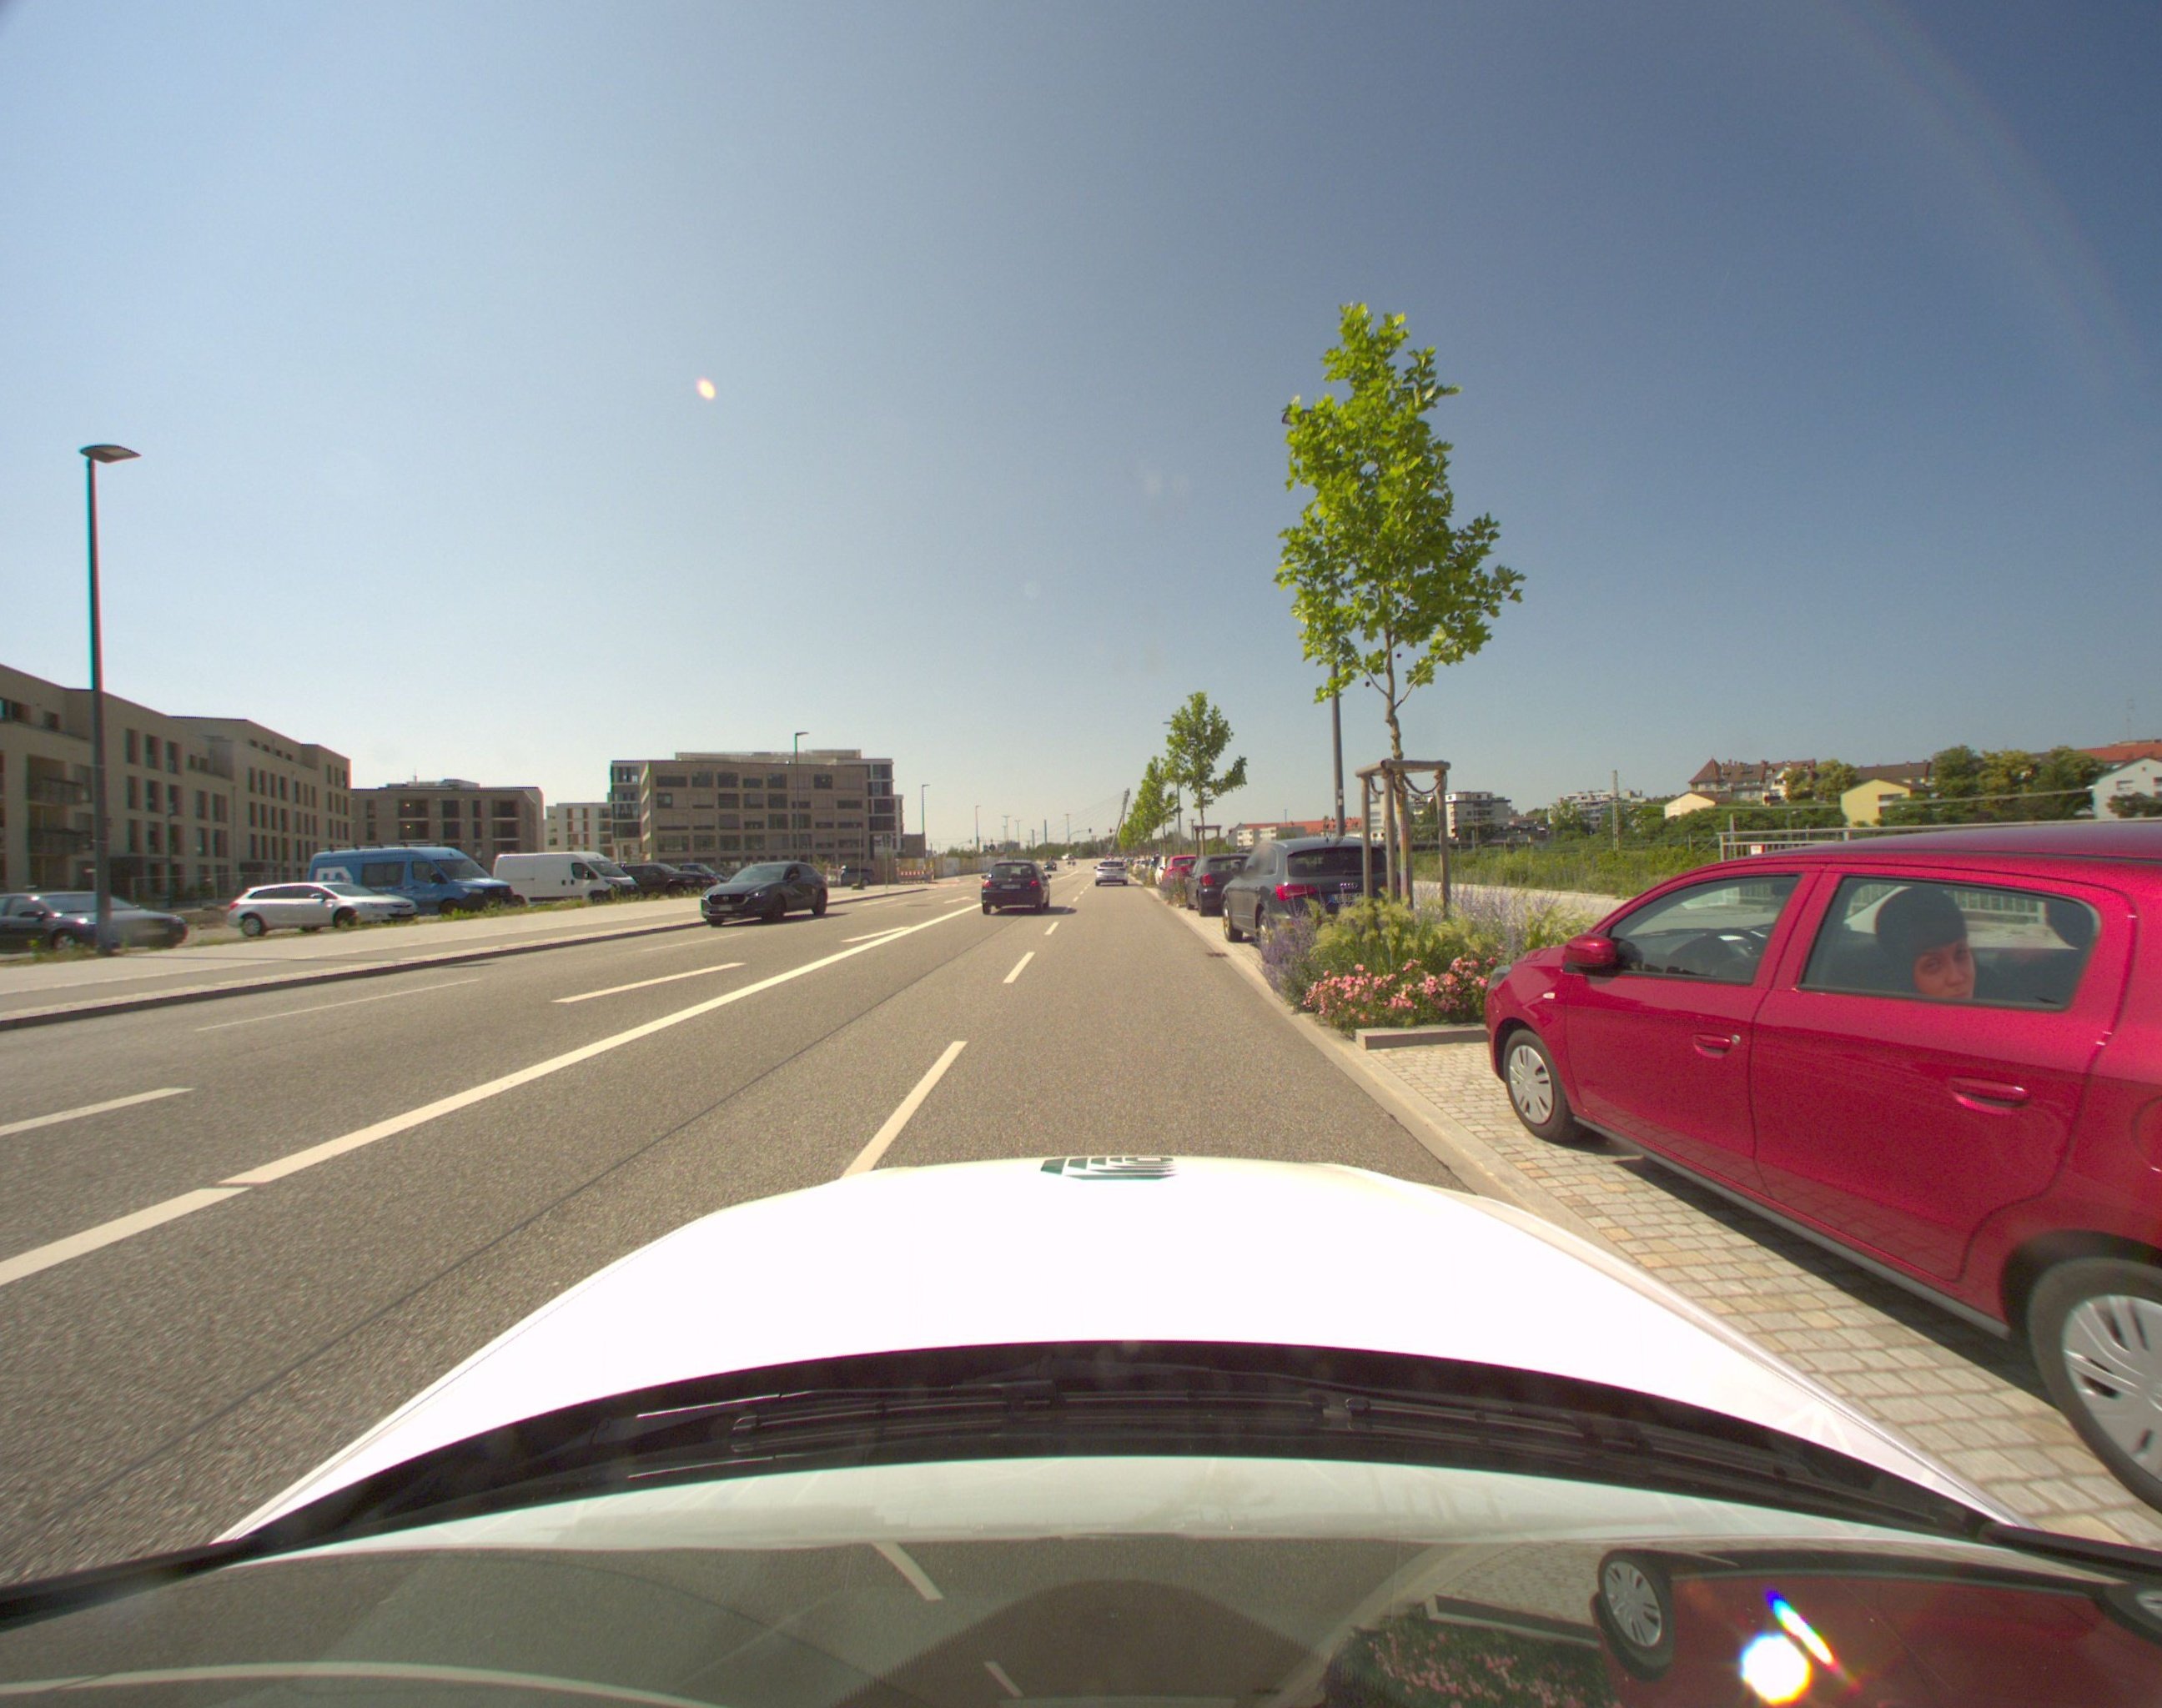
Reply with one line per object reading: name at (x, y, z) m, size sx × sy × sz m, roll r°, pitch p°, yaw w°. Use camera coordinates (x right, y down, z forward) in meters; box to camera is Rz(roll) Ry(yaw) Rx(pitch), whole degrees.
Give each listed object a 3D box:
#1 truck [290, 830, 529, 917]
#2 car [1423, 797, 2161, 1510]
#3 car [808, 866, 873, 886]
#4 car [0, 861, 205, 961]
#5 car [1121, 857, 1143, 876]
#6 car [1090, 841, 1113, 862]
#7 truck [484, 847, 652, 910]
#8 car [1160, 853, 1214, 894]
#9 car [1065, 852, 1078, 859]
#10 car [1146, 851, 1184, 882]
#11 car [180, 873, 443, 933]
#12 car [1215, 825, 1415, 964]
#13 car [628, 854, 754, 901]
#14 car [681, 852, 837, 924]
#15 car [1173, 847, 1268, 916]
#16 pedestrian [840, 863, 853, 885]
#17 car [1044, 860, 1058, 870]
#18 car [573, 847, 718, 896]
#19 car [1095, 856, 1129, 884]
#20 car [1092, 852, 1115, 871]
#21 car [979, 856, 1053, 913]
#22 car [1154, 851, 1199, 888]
truck at (-22.406, 0.615, 27.367) m, size 5.986 × 2.543 × 2.274 m, roll -2°, pitch 0°, yaw -1°
car at (3.005, 0.596, 3.168) m, size 1.599 × 1.491 × 3.816 m, roll -3°, pitch 0°, yaw -1°
car at (-18.054, 1.650, 61.283) m, size 4.264 × 1.318 × 1.979 m, roll -2°, pitch 0°, yaw -34°
car at (-21.433, 1.189, 17.331) m, size 3.963 × 1.904 × 1.832 m, roll -3°, pitch 0°, yaw 9°
car at (4.340, 1.005, 69.464) m, size 1.738 × 1.509 × 4.005 m, roll -2°, pitch 0°, yaw 3°
car at (1.845, -0.191, 70.839) m, size 1.785 × 1.750 × 4.005 m, roll 0°, pitch -1°, yaw 5°
truck at (-21.691, 0.995, 34.623) m, size 5.548 × 2.362 × 2.275 m, roll -2°, pitch 0°, yaw 0°
car at (4.116, 0.716, 32.149) m, size 1.711 × 1.451 × 4.002 m, roll 0°, pitch 1°, yaw 2°
car at (-2.358, 0.383, 205.248) m, size 1.863 × 1.649 × 3.968 m, roll 0°, pitch 0°, yaw -24°
car at (4.616, 0.649, 45.125) m, size 1.899 × 1.577 × 4.163 m, roll -2°, pitch 0°, yaw 5°
car at (-22.494, 1.400, 23.989) m, size 5.634 × 1.474 × 2.106 m, roll -2°, pitch 0°, yaw -1°
car at (3.216, 0.496, 12.103) m, size 1.728 × 1.608 × 4.241 m, roll -3°, pitch 0°, yaw 1°
car at (-20.635, 1.204, 43.325) m, size 5.428 × 2.173 × 2.394 m, roll -2°, pitch 0°, yaw -2°
car at (-8.299, 0.808, 21.489) m, size 1.893 × 1.628 × 4.395 m, roll -3°, pitch 0°, yaw 6°
car at (3.370, 0.608, 20.359) m, size 1.627 × 1.429 × 4.241 m, roll -4°, pitch 0°, yaw 1°
pedestrian at (-18.220, 1.526, 63.282) m, size 0.681 × 1.684 × 0.758 m, roll -1°, pitch -2°, yaw 8°
car at (-4.306, 1.518, 116.617) m, size 1.697 × 1.352 × 4.458 m, roll -3°, pitch -1°, yaw 2°
car at (-21.811, 0.832, 41.022) m, size 5.866 × 2.165 × 2.394 m, roll -2°, pitch 0°, yaw -2°
car at (1.772, 0.849, 45.721) m, size 1.770 × 1.442 × 4.004 m, roll -2°, pitch 0°, yaw 3°
car at (1.947, 0.637, 68.832) m, size 1.770 × 1.569 × 4.003 m, roll -1°, pitch -1°, yaw 3°
car at (-1.757, 0.802, 22.976) m, size 1.613 × 1.416 × 3.729 m, roll -2°, pitch 0°, yaw 2°
car at (4.313, 0.668, 37.092) m, size 1.711 × 1.524 × 3.644 m, roll -2°, pitch 0°, yaw 2°
